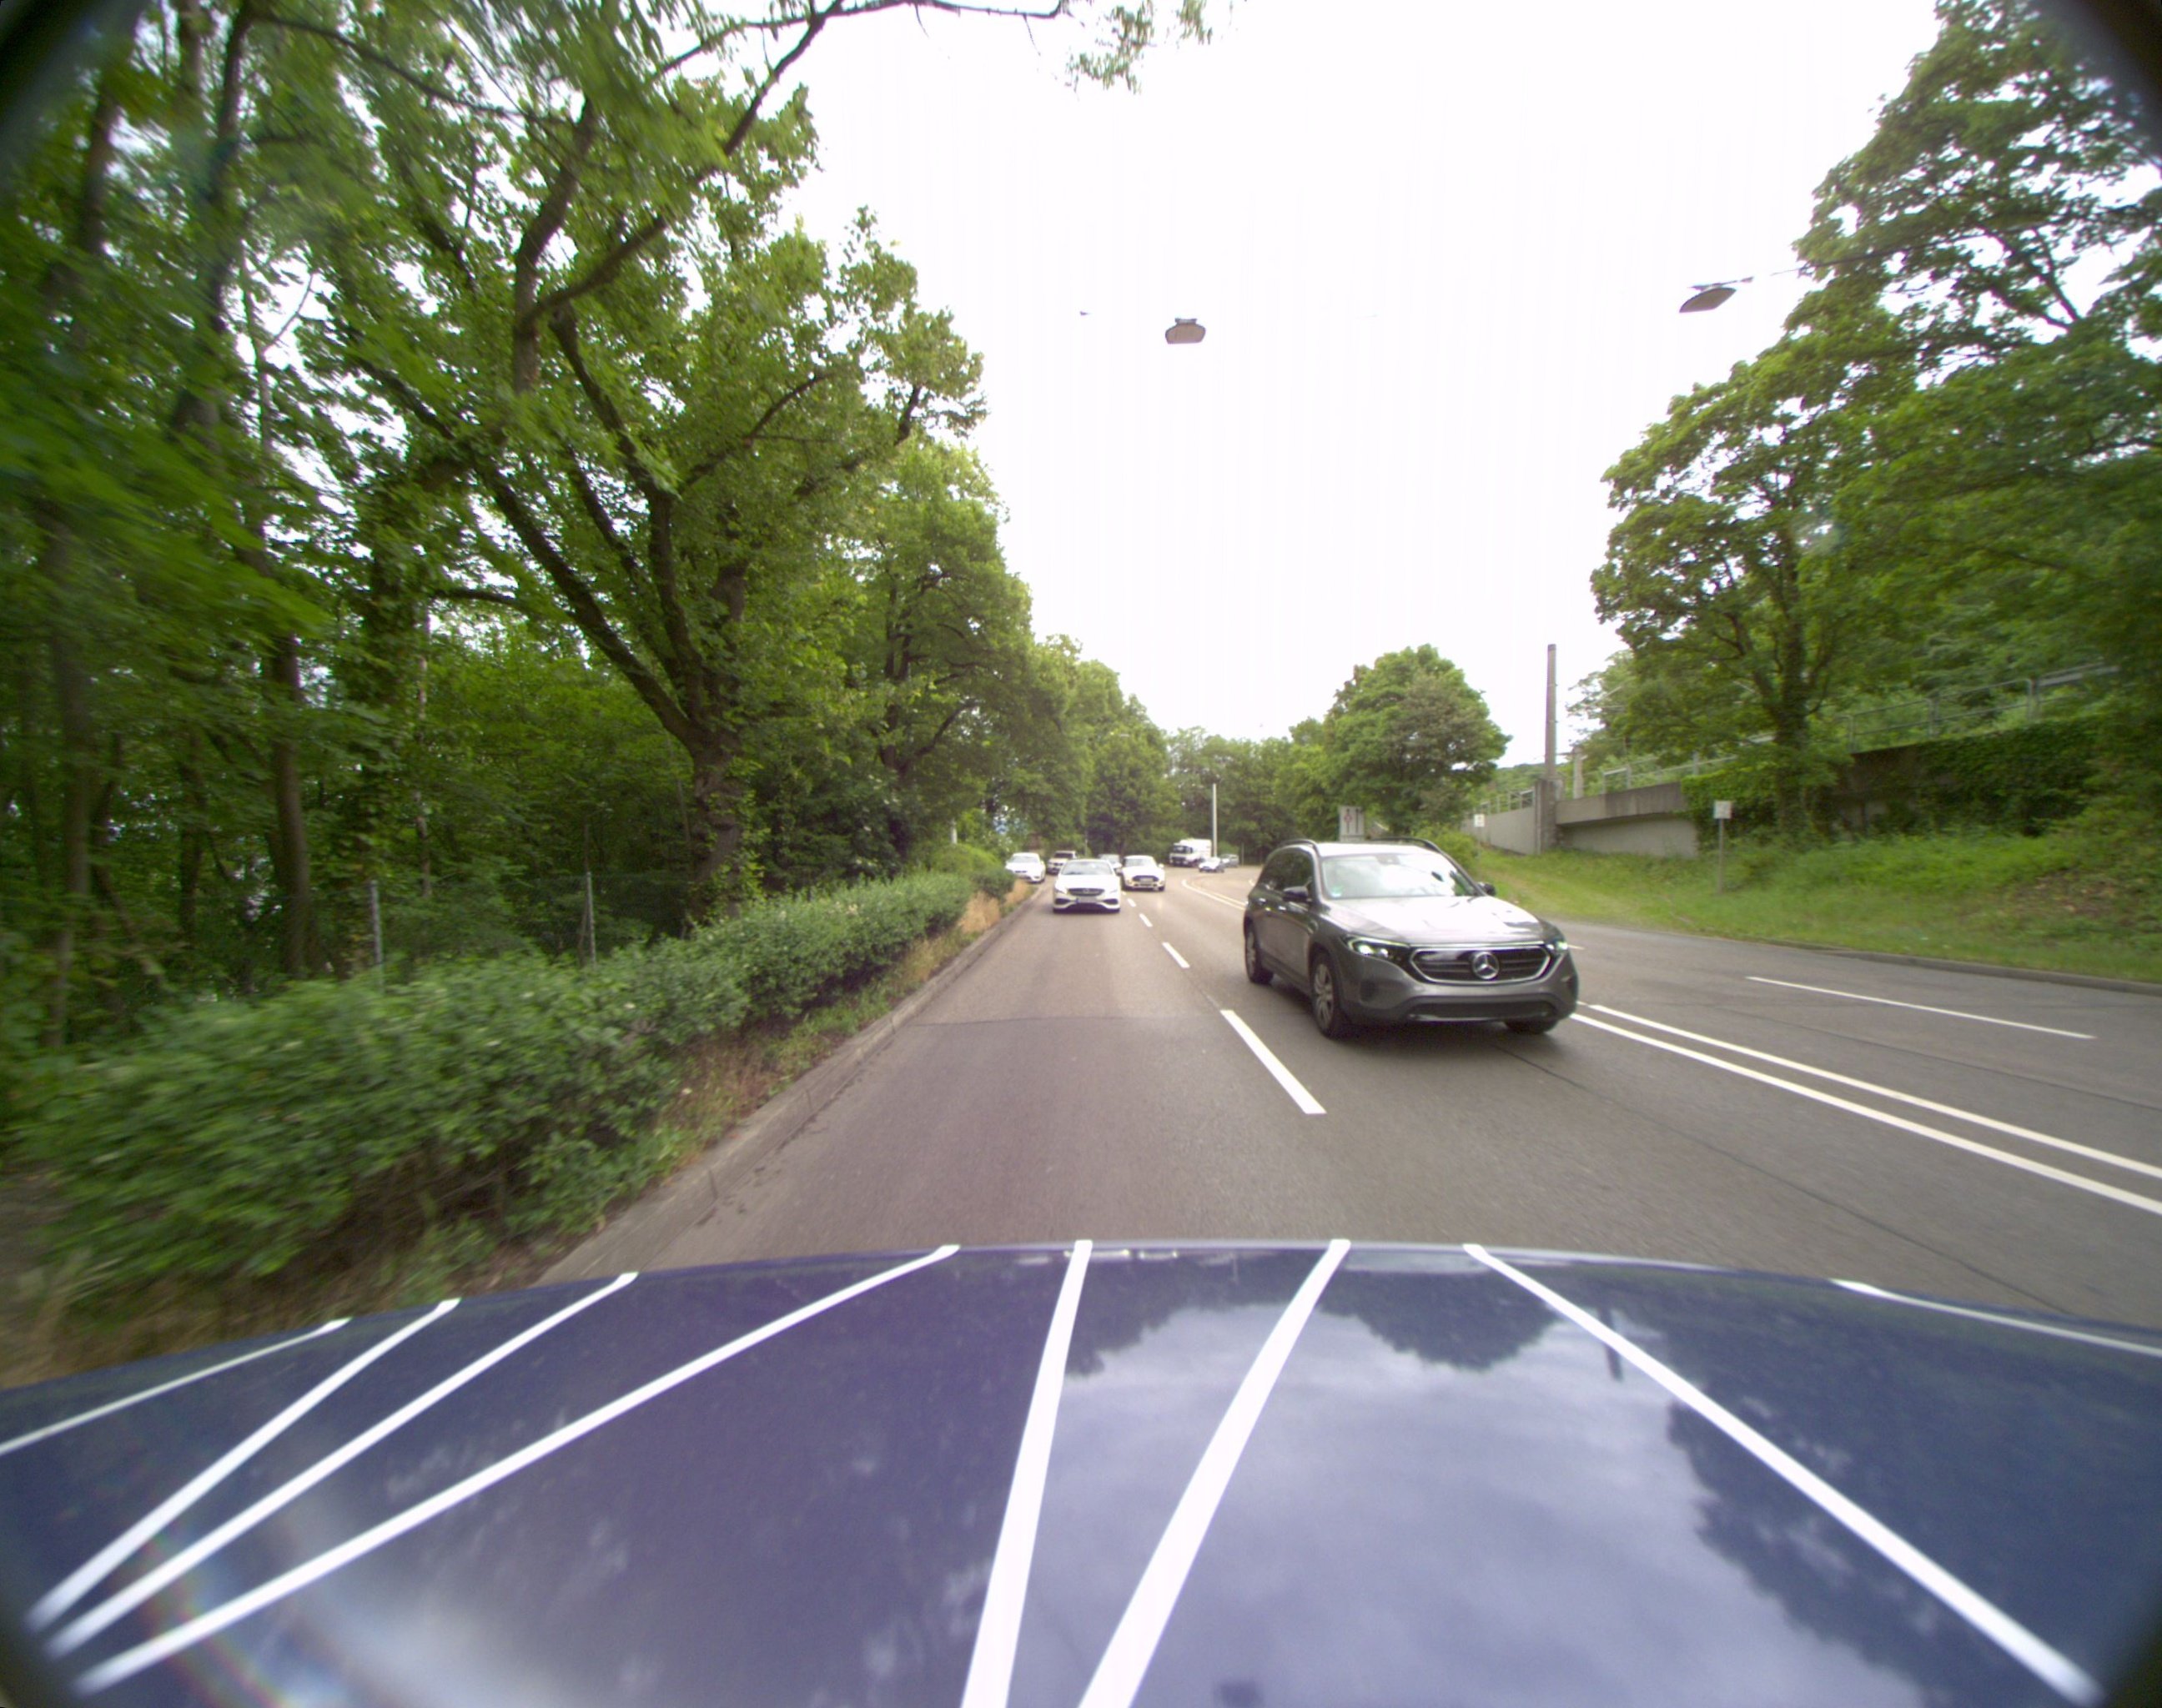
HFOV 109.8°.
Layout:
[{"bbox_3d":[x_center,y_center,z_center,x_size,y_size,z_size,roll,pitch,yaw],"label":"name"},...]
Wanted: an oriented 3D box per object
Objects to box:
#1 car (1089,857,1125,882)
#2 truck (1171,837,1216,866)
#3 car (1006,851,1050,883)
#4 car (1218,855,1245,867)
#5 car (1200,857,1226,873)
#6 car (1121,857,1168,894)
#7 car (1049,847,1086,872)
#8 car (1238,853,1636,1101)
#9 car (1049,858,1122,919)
[{"bbox_3d":[1.717,0.929,48.217,1.754,1.417,4.013,3,1,9],"label":"car"},{"bbox_3d":[12.629,-0.211,84.841,2.195,3.137,6.665,2,0,33],"label":"truck"},{"bbox_3d":[-2.533,0.597,36.868,1.765,1.433,3.892,1,0,1],"label":"car"},{"bbox_3d":[18.450,0.909,92.976,1.751,1.354,4.019,4,1,36],"label":"car"},{"bbox_3d":[12.332,1.000,70.757,1.661,1.382,4.189,3,1,20],"label":"car"},{"bbox_3d":[2.592,0.855,31.695,1.688,1.415,3.733,-1,0,1],"label":"car"},{"bbox_3d":[-0.865,0.363,52.190,1.754,1.575,4.014,1,0,11],"label":"car"},{"bbox_3d":[2.850,0.834,7.309,1.854,1.641,4.358,-1,0,1],"label":"car"},{"bbox_3d":[0.212,0.889,21.186,1.801,1.470,4.011,-1,0,3],"label":"car"}]
